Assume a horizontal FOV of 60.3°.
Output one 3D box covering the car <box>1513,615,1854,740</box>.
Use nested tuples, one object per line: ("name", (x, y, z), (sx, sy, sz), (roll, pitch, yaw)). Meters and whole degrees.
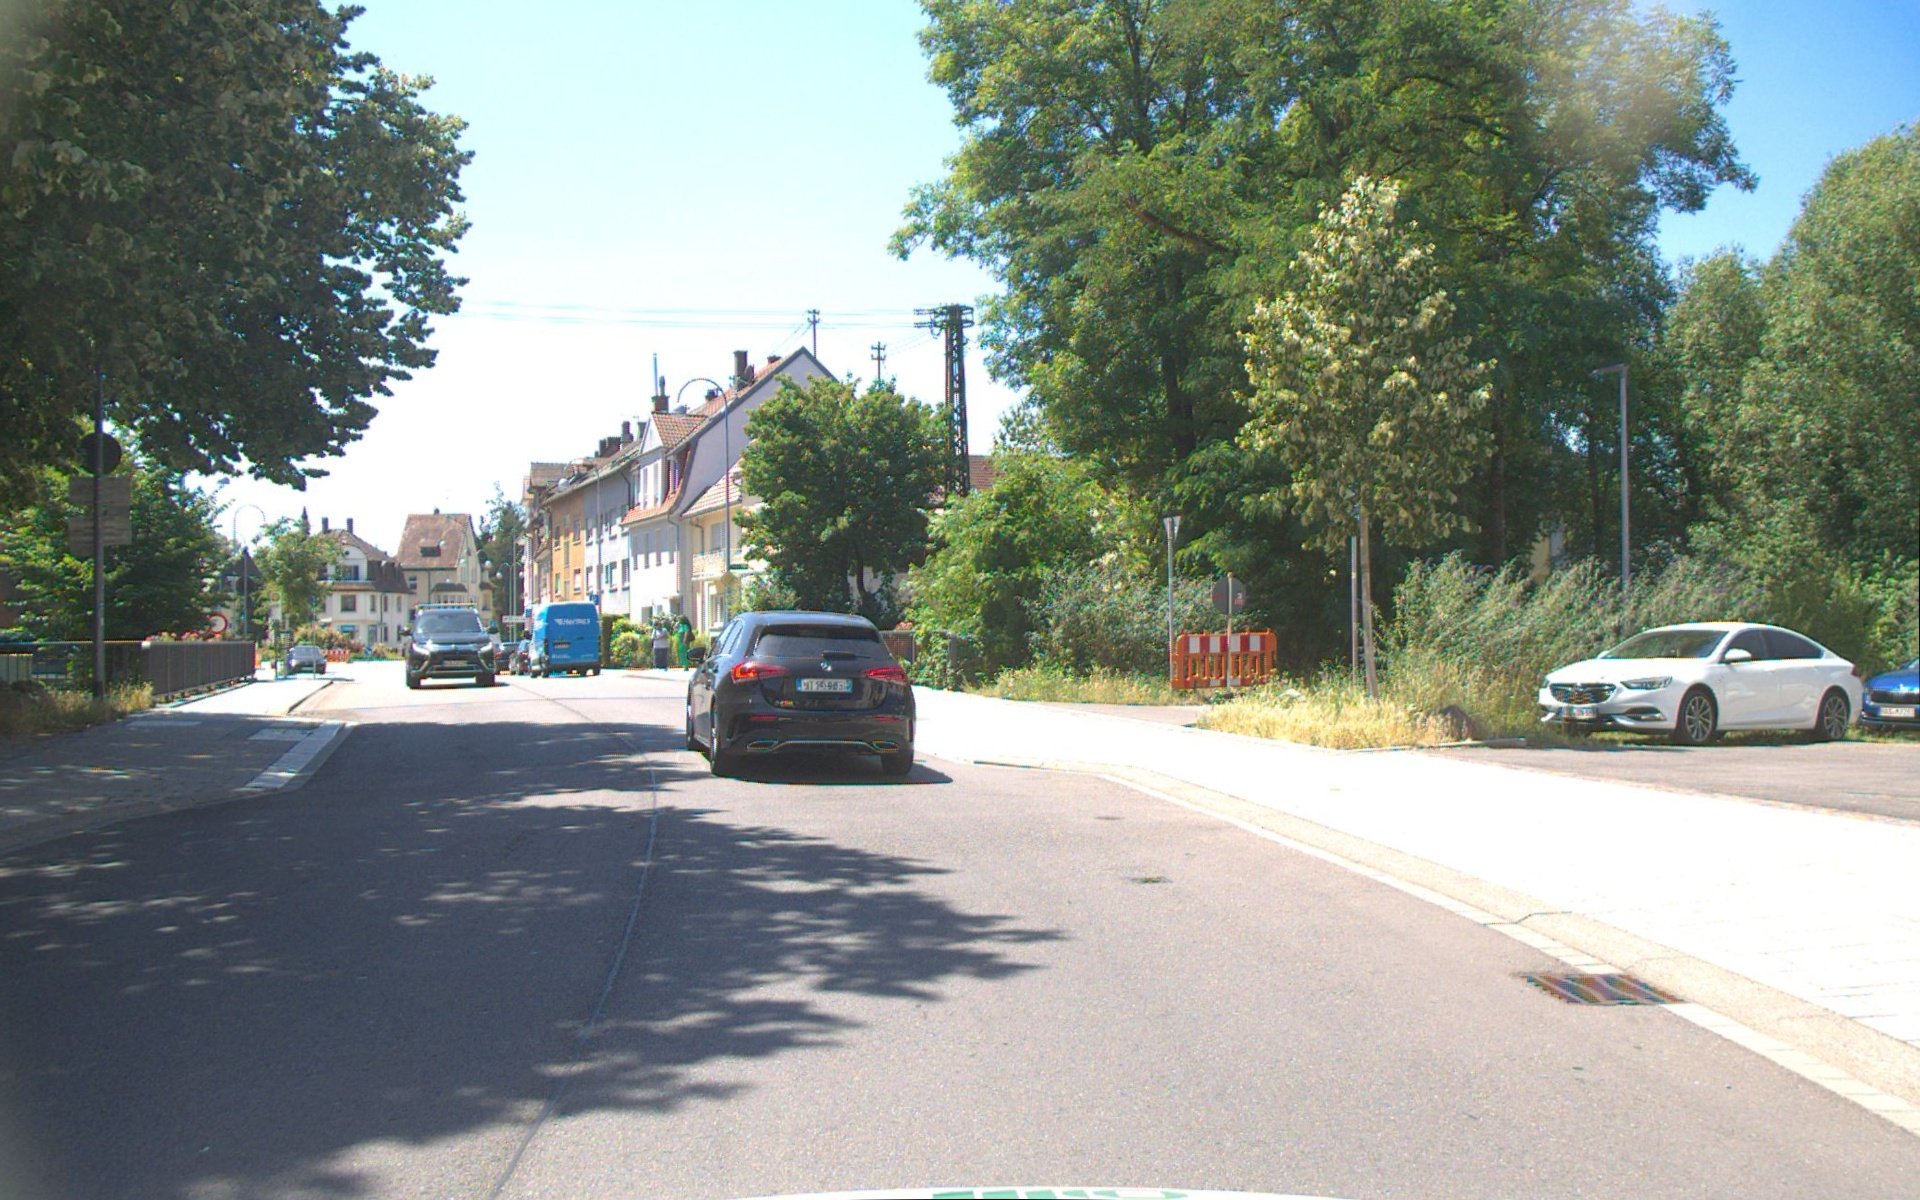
("car", (8.830, 0.916, 20.099), (4.149, 1.374, 1.839), (2, -2, -33))

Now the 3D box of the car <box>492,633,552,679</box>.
("car", (-18.239, 2.302, 68.711), (1.965, 1.776, 4.301), (0, 0, -21))

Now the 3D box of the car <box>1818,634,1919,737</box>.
("car", (14.398, 1.209, 23.600), (4.142, 1.374, 1.842), (1, -3, -29))

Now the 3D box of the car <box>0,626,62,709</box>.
("car", (-24.939, 1.729, 43.404), (1.966, 2.049, 3.972), (0, 0, -23))

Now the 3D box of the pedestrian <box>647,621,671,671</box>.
("pedestrian", (-9.900, 1.517, 54.391), (0.606, 1.641, 0.831), (0, -2, -25))

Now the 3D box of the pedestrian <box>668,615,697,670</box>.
("pedestrian", (-9.012, 1.376, 53.735), (0.656, 1.772, 0.692), (0, -2, -38))

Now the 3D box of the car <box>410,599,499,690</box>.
("car", (-11.068, 0.942, 36.302), (1.713, 1.803, 4.317), (-2, 0, -17))

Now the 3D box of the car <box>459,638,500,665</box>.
("car", (-27.786, 2.970, 95.597), (1.965, 1.416, 4.301), (0, 0, -21))

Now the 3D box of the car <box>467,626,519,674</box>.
("car", (-21.321, 2.243, 75.435), (1.965, 2.049, 3.975), (0, 0, -21))

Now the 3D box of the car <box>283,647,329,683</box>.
("car", (-32.627, 3.230, 82.574), (1.964, 1.689, 3.975), (2, -2, -20))

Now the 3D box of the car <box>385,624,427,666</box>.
("car", (-32.523, 2.597, 97.033), (2.212, 2.384, 4.823), (0, 0, -21))

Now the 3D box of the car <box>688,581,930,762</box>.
("car", (-1.563, 0.699, 15.680), (1.796, 1.467, 3.987), (-1, -3, -12))

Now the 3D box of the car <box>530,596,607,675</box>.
("car", (-13.570, 1.237, 57.164), (2.101, 2.586, 4.621), (0, -1, -20))

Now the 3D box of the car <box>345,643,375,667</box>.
("car", (-42.888, 3.912, 118.203), (1.964, 1.689, 3.975), (2, -2, -20))
